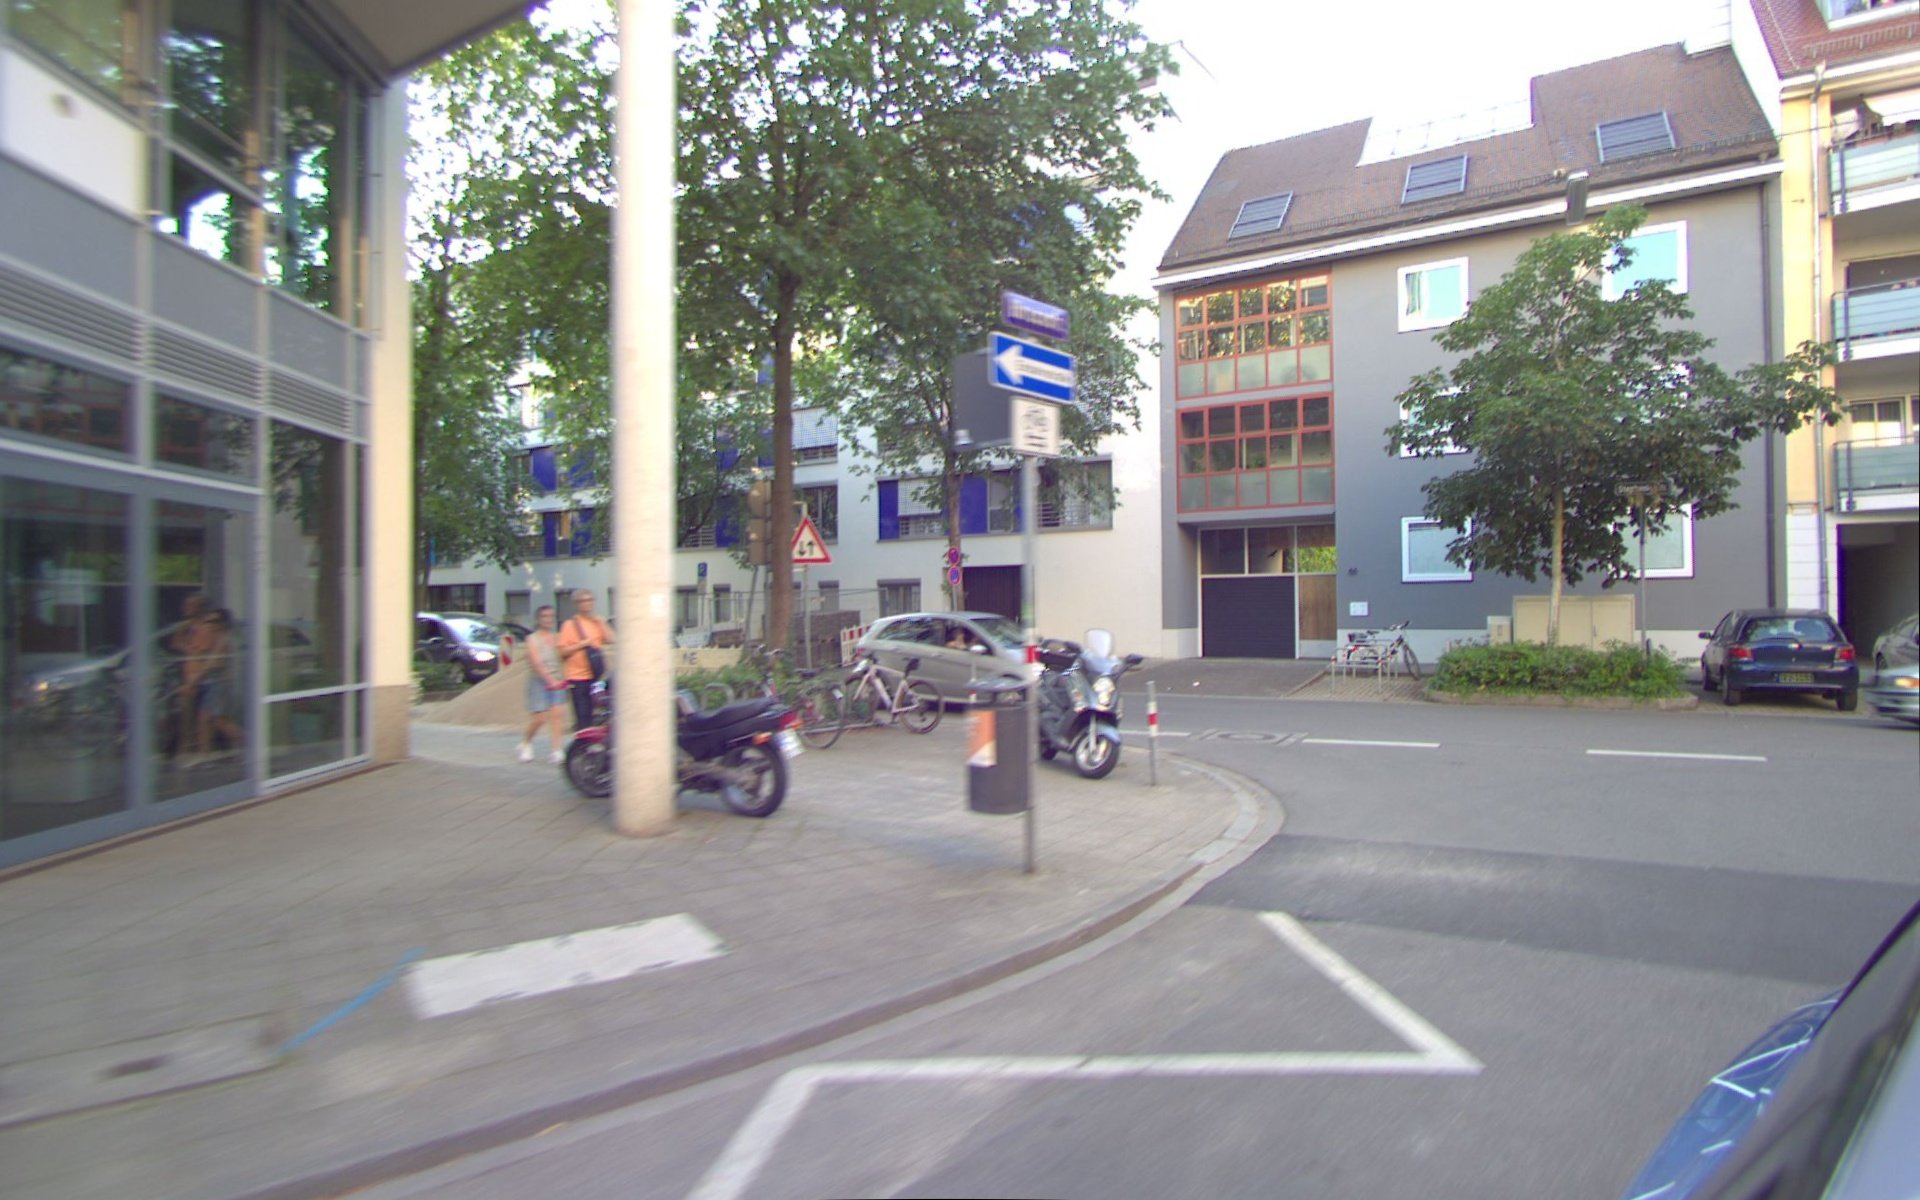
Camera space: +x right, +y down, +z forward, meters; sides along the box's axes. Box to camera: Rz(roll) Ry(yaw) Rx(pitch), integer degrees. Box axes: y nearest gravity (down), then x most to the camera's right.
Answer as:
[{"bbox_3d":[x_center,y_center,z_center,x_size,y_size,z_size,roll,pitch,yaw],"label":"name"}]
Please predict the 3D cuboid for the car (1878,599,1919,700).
[{"bbox_3d":[15.836,0.758,15.259,1.994,1.591,4.586,-1,-1,30],"label":"car"}]

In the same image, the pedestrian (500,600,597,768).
[{"bbox_3d":[-4.030,0.788,9.907,0.757,1.555,0.642,0,-2,-35],"label":"pedestrian"}]

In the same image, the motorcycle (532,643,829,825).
[{"bbox_3d":[-2.112,0.939,7.560,2.280,1.187,0.554,0,-1,22],"label":"motorcycle"}]

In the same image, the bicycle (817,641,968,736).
[{"bbox_3d":[-0.922,1.155,13.607,1.960,1.167,0.679,-1,-1,26],"label":"bicycle"}]

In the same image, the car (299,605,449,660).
[{"bbox_3d":[-22.799,1.264,39.590,1.983,2.040,4.702,-1,-2,30],"label":"car"}]

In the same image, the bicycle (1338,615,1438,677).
[{"bbox_3d":[8.997,0.939,21.289,1.791,1.251,0.820,-1,-1,35],"label":"bicycle"}]

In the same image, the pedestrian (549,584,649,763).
[{"bbox_3d":[-3.621,0.710,10.174,0.602,1.712,0.733,-2,-2,32],"label":"pedestrian"}]

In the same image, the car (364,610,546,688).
[{"bbox_3d":[-12.425,1.141,24.815,4.667,1.736,1.933,-1,-1,33],"label":"car"}]

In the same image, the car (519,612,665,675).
[{"bbox_3d":[-11.576,1.326,32.049,1.986,1.828,3.950,-1,-1,34],"label":"car"}]

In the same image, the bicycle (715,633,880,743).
[{"bbox_3d":[-1.930,0.987,11.860,1.965,1.167,0.677,-1,-1,32],"label":"bicycle"}]

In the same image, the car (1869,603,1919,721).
[{"bbox_3d":[13.443,0.710,11.528,4.298,1.388,1.718,-1,-1,32],"label":"car"}]

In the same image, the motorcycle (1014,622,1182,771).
[{"bbox_3d":[1.322,0.900,10.357,1.045,1.298,2.360,0,-1,-9],"label":"motorcycle"}]

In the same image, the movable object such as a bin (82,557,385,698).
[{"bbox_3d":[-14.019,0.488,19.794,2.755,2.413,4.024,-1,-1,25],"label":"movable object such as a bin"}]

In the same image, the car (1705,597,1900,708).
[{"bbox_3d":[13.429,0.775,16.372,1.816,1.584,3.512,-1,-1,30],"label":"car"}]

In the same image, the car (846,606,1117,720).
[{"bbox_3d":[0.285,0.921,16.570,4.096,1.633,1.989,-1,-1,38],"label":"car"}]
